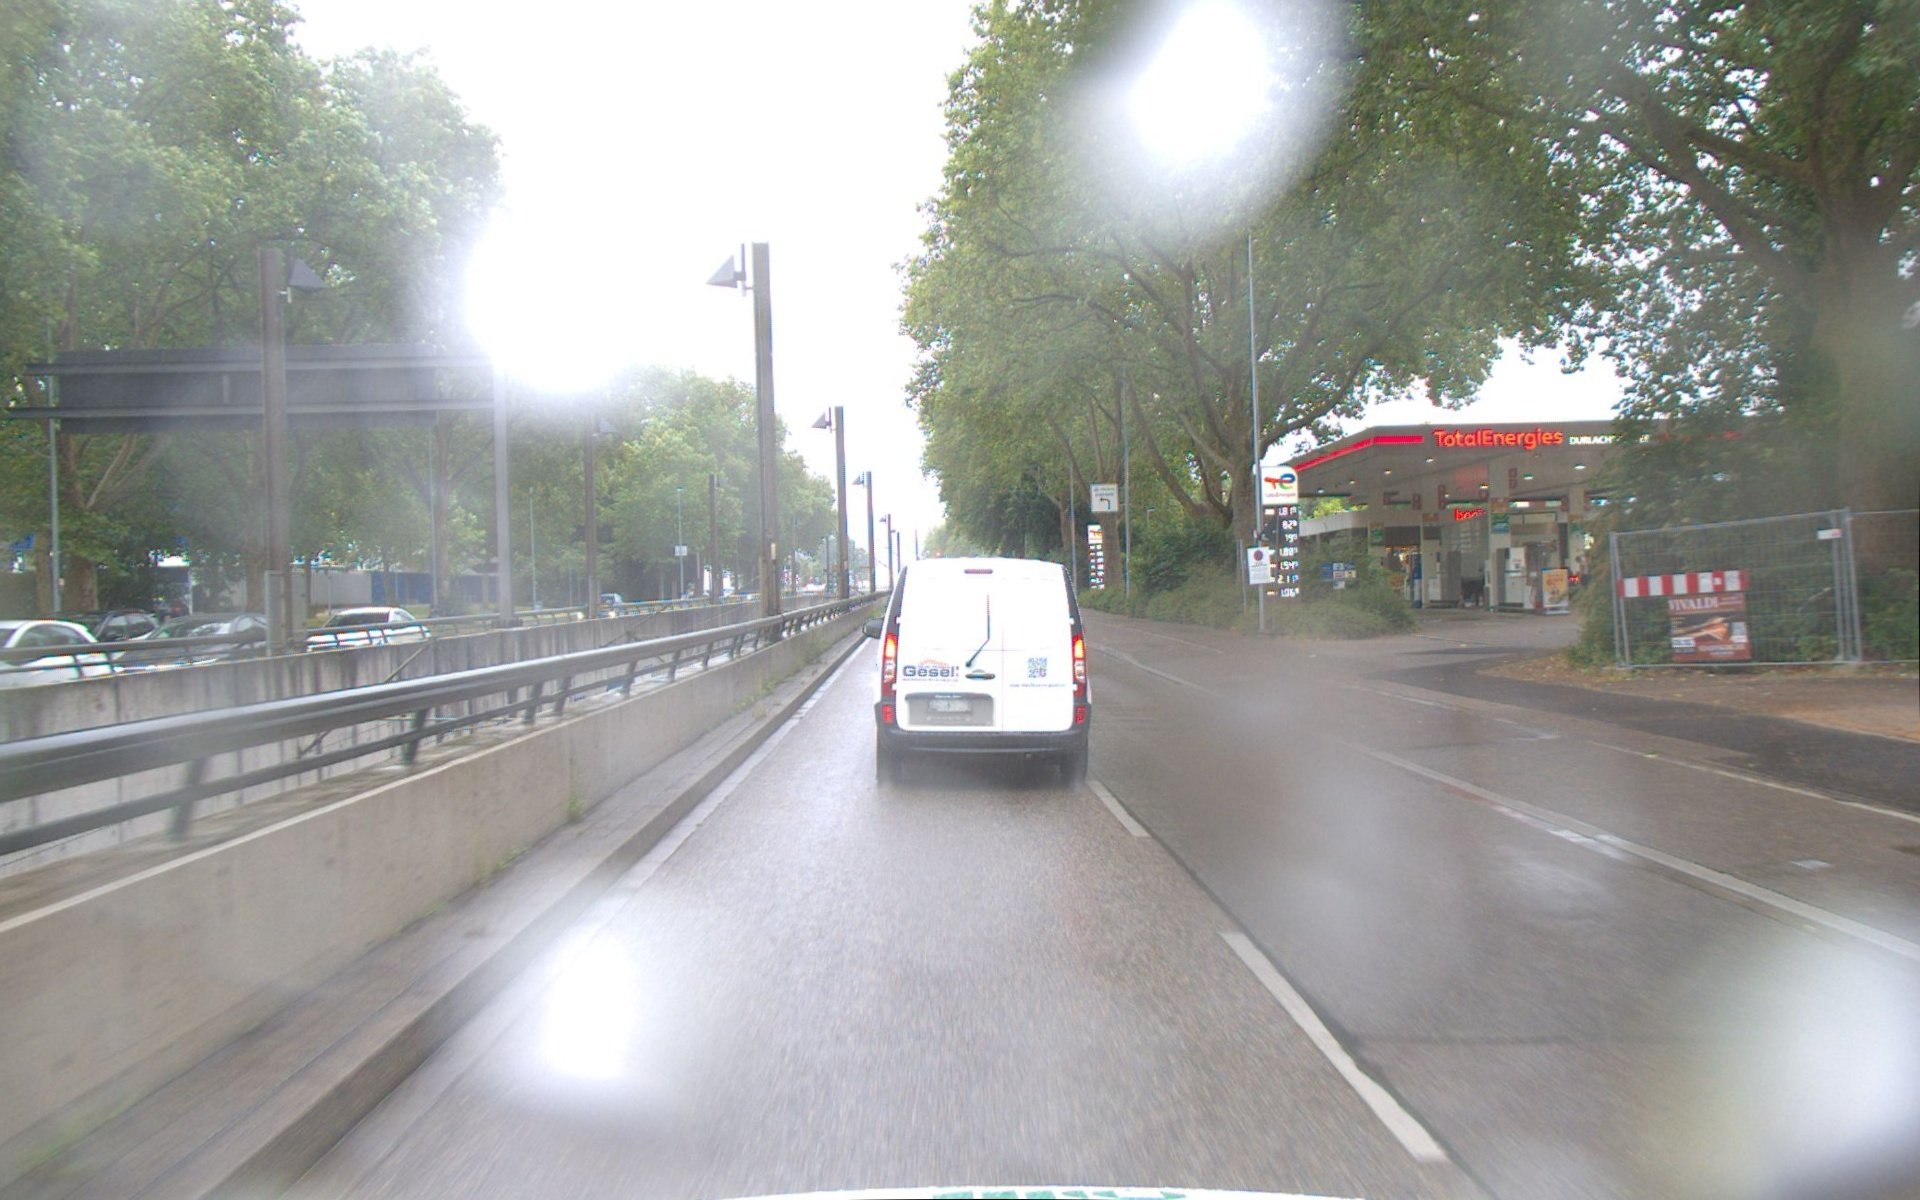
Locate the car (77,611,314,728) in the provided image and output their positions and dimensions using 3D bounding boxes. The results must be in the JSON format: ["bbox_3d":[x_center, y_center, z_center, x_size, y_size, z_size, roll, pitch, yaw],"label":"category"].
[{"bbox_3d":[-12.358,1.062,27.060,1.953,1.661,4.088,-2,0,0],"label":"car"}]

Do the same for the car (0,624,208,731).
[{"bbox_3d":[-15.390,1.333,29.782,1.809,1.661,4.088,-2,0,0],"label":"car"}]

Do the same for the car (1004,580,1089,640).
[{"bbox_3d":[2.465,0.286,48.162,1.954,1.612,3.997,-2,0,-4],"label":"car"}]

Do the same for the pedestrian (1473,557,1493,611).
[{"bbox_3d":[17.363,-0.546,54.907,0.542,1.755,0.726,-2,0,18],"label":"pedestrian"}]

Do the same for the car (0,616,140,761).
[{"bbox_3d":[-12.252,1.087,20.642,1.953,1.661,4.088,-2,0,0],"label":"car"}]

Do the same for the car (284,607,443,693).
[{"bbox_3d":[-12.904,1.038,36.114,1.954,1.661,4.577,-2,0,-3],"label":"car"}]

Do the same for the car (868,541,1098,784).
[{"bbox_3d":[0.087,0.465,14.433,1.721,1.808,3.998,1,0,-3],"label":"car"}]

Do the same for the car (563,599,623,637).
[{"bbox_3d":[-17.169,0.829,77.546,1.868,1.598,4.000,-2,1,0],"label":"car"}]

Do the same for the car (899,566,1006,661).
[{"bbox_3d":[-0.190,0.242,31.813,1.879,1.637,3.999,-2,0,-2],"label":"car"}]

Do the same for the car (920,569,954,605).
[{"bbox_3d":[-1.441,-0.788,104.661,2.006,2.177,4.000,-2,0,0],"label":"car"}]
